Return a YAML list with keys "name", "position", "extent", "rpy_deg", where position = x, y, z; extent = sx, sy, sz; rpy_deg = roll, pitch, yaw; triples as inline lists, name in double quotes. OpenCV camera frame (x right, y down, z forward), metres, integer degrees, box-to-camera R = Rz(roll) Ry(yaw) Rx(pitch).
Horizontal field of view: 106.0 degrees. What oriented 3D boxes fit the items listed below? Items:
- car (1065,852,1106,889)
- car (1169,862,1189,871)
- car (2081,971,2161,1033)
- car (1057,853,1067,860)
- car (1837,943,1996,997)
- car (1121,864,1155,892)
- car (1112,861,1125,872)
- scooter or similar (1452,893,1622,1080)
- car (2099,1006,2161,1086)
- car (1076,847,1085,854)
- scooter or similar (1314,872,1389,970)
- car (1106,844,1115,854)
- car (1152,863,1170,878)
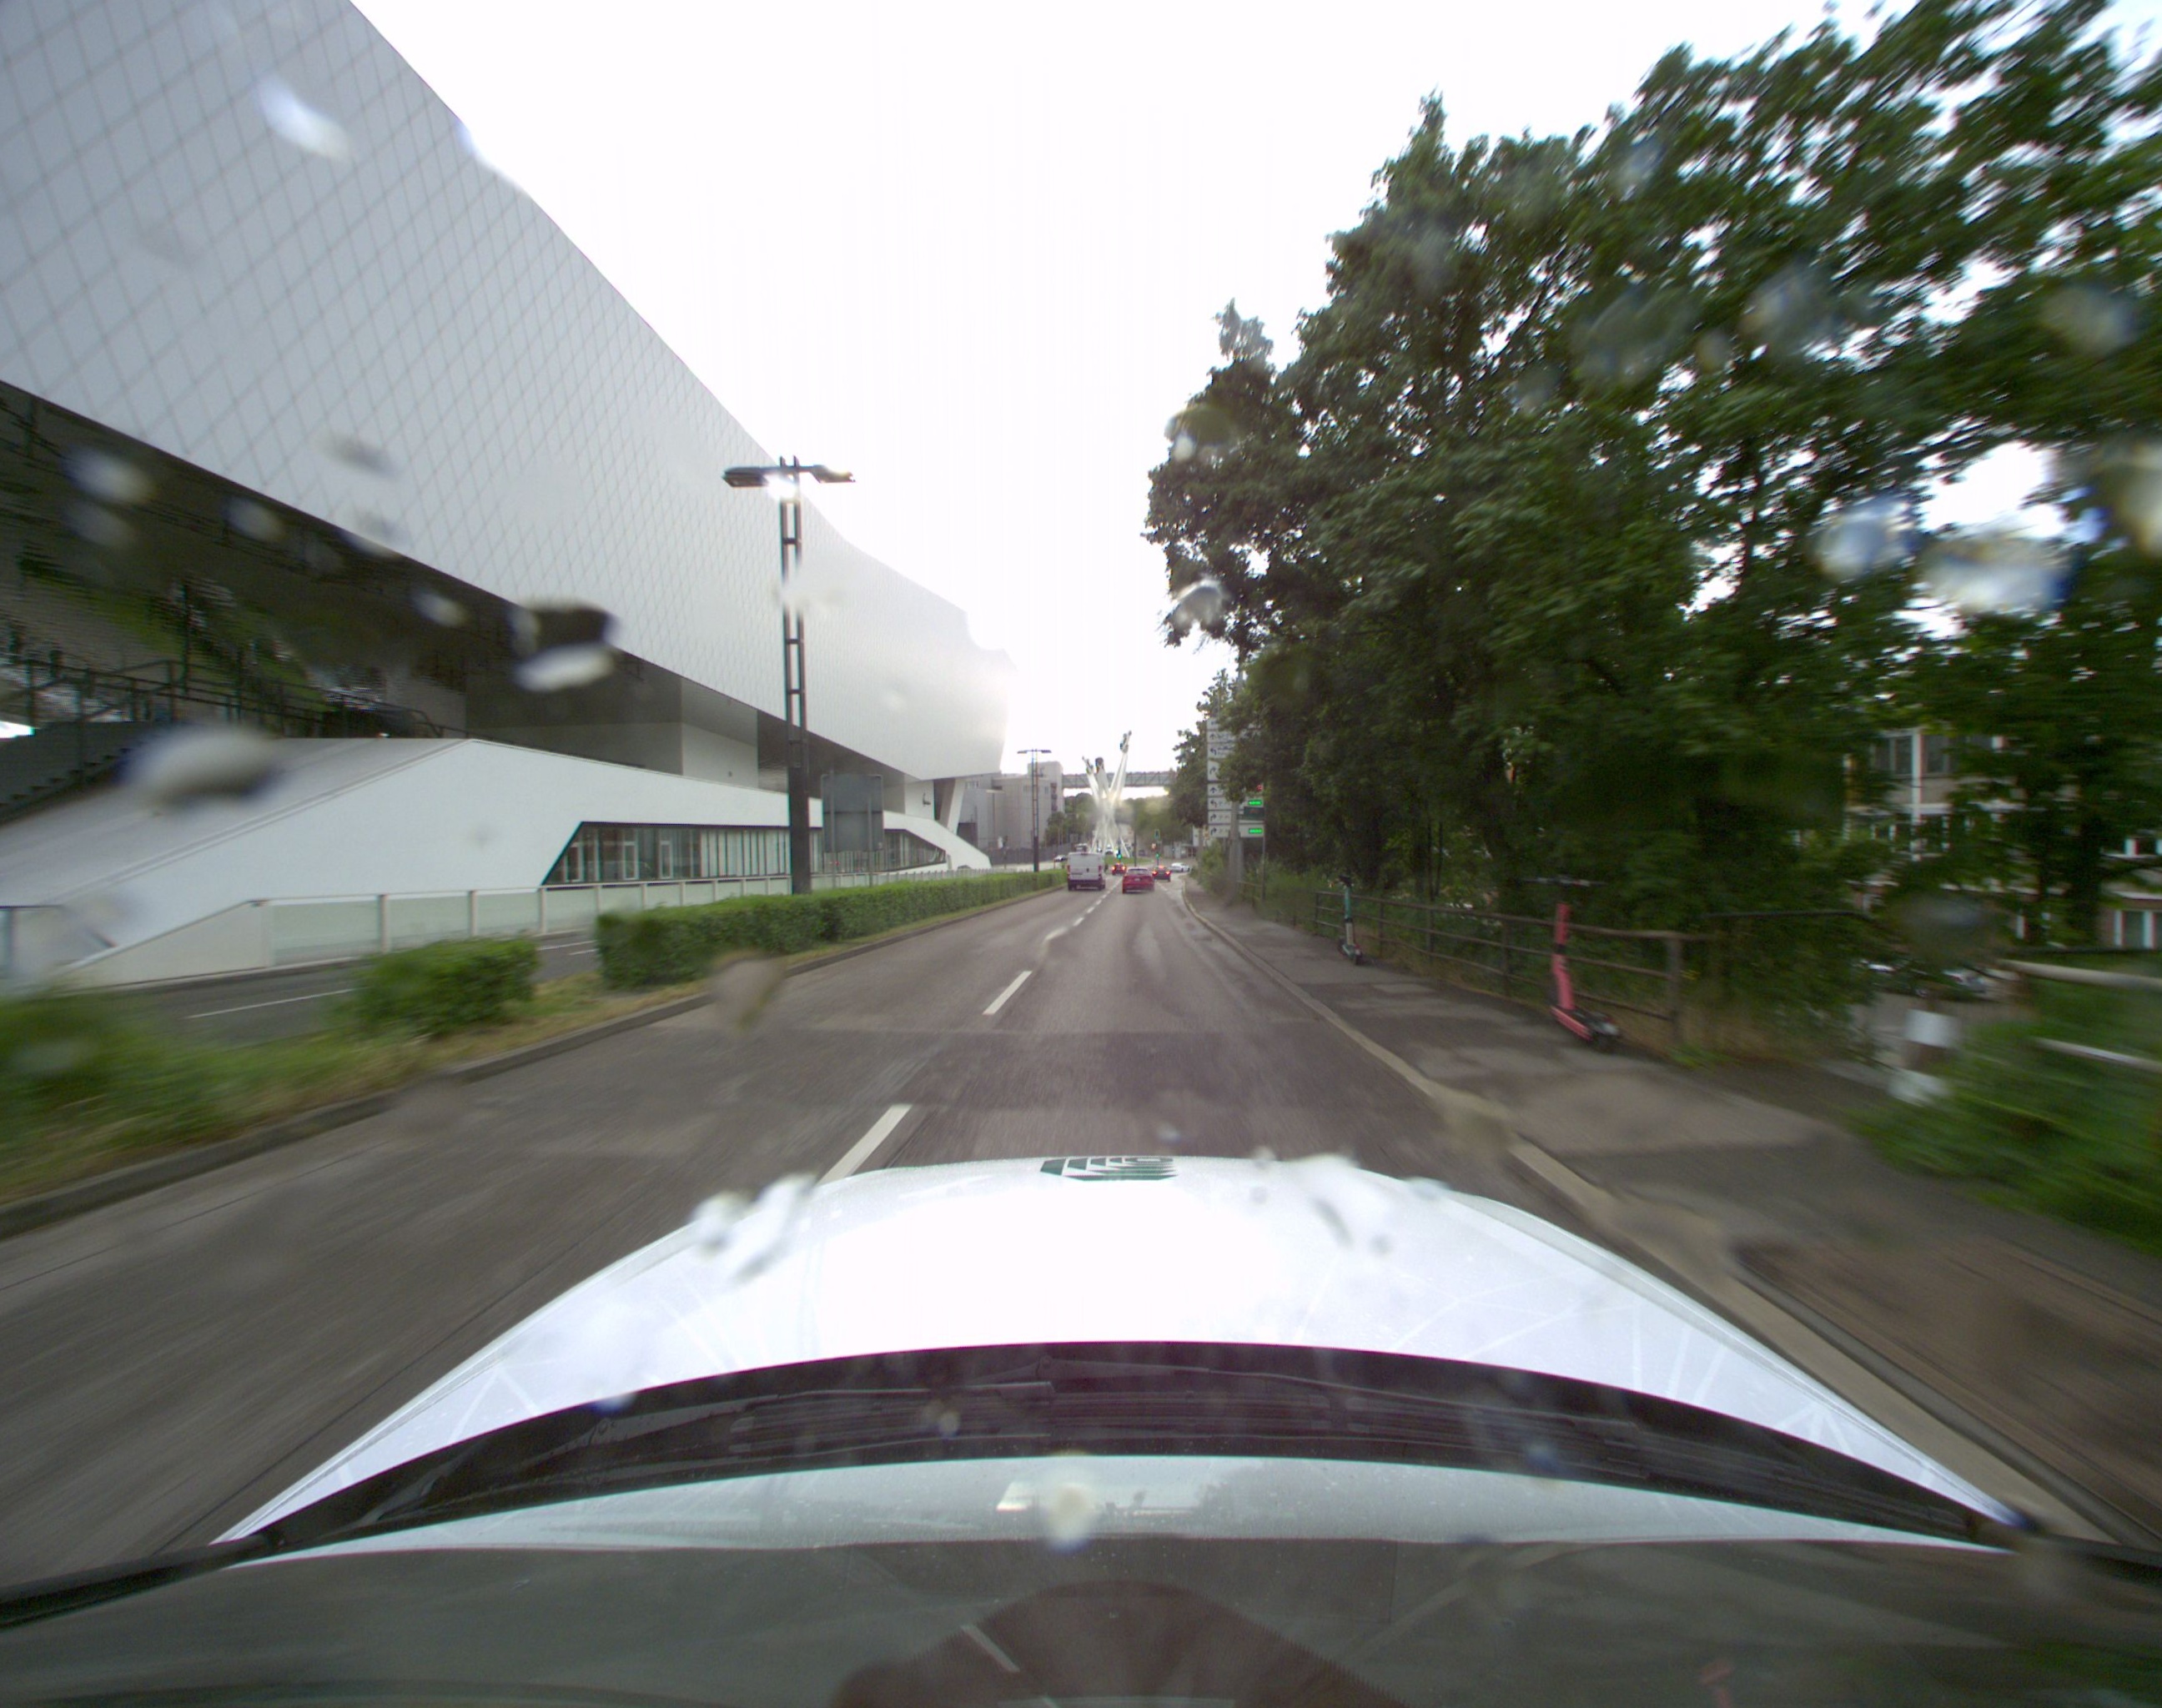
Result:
- name: "car"
  position: [0.336, 0.959, 49.378]
  extent: [2.223, 2.108, 4.958]
  rpy_deg: [0, -1, 3]
- name: "car"
  position: [14.552, 1.837, 120.485]
  extent: [1.652, 1.301, 3.909]
  rpy_deg: [-1, 0, 29]
- name: "car"
  position: [32.511, 4.478, 23.420]
  extent: [1.745, 1.525, 4.428]
  rpy_deg: [1, 0, -15]
- name: "car"
  position: [-4.236, 0.501, 182.480]
  extent: [1.824, 1.472, 4.521]
  rpy_deg: [-1, 1, 6]
- name: "car"
  position: [31.766, 4.361, 31.144]
  extent: [1.664, 1.395, 3.984]
  rpy_deg: [0, 1, -12]
- name: "car"
  position: [3.160, 1.287, 44.936]
  extent: [1.765, 1.464, 3.736]
  rpy_deg: [0, 0, 4]
- name: "car"
  position: [4.820, 1.585, 103.124]
  extent: [1.550, 1.288, 3.417]
  rpy_deg: [0, 0, 4]
- name: "scooter or similar"
  position: [3.459, 0.944, 6.319]
  extent: [0.570, 1.208, 1.469]
  rpy_deg: [0, 0, 4]
- name: "car"
  position: [23.534, 4.098, 15.789]
  extent: [1.745, 1.424, 4.428]
  rpy_deg: [1, 0, -15]
- name: "car"
  position: [-0.184, -0.870, 202.280]
  extent: [1.824, 1.472, 4.521]
  rpy_deg: [-1, 1, 6]
- name: "scooter or similar"
  position: [3.768, 0.892, 11.464]
  extent: [0.535, 1.232, 1.846]
  rpy_deg: [0, 0, 4]
- name: "car"
  position: [7.972, -1.299, 217.520]
  extent: [1.984, 2.447, 5.436]
  rpy_deg: [-1, 1, 6]
- name: "car"
  position: [7.336, 1.484, 74.804]
  extent: [1.603, 1.291, 3.570]
  rpy_deg: [0, 0, 4]
